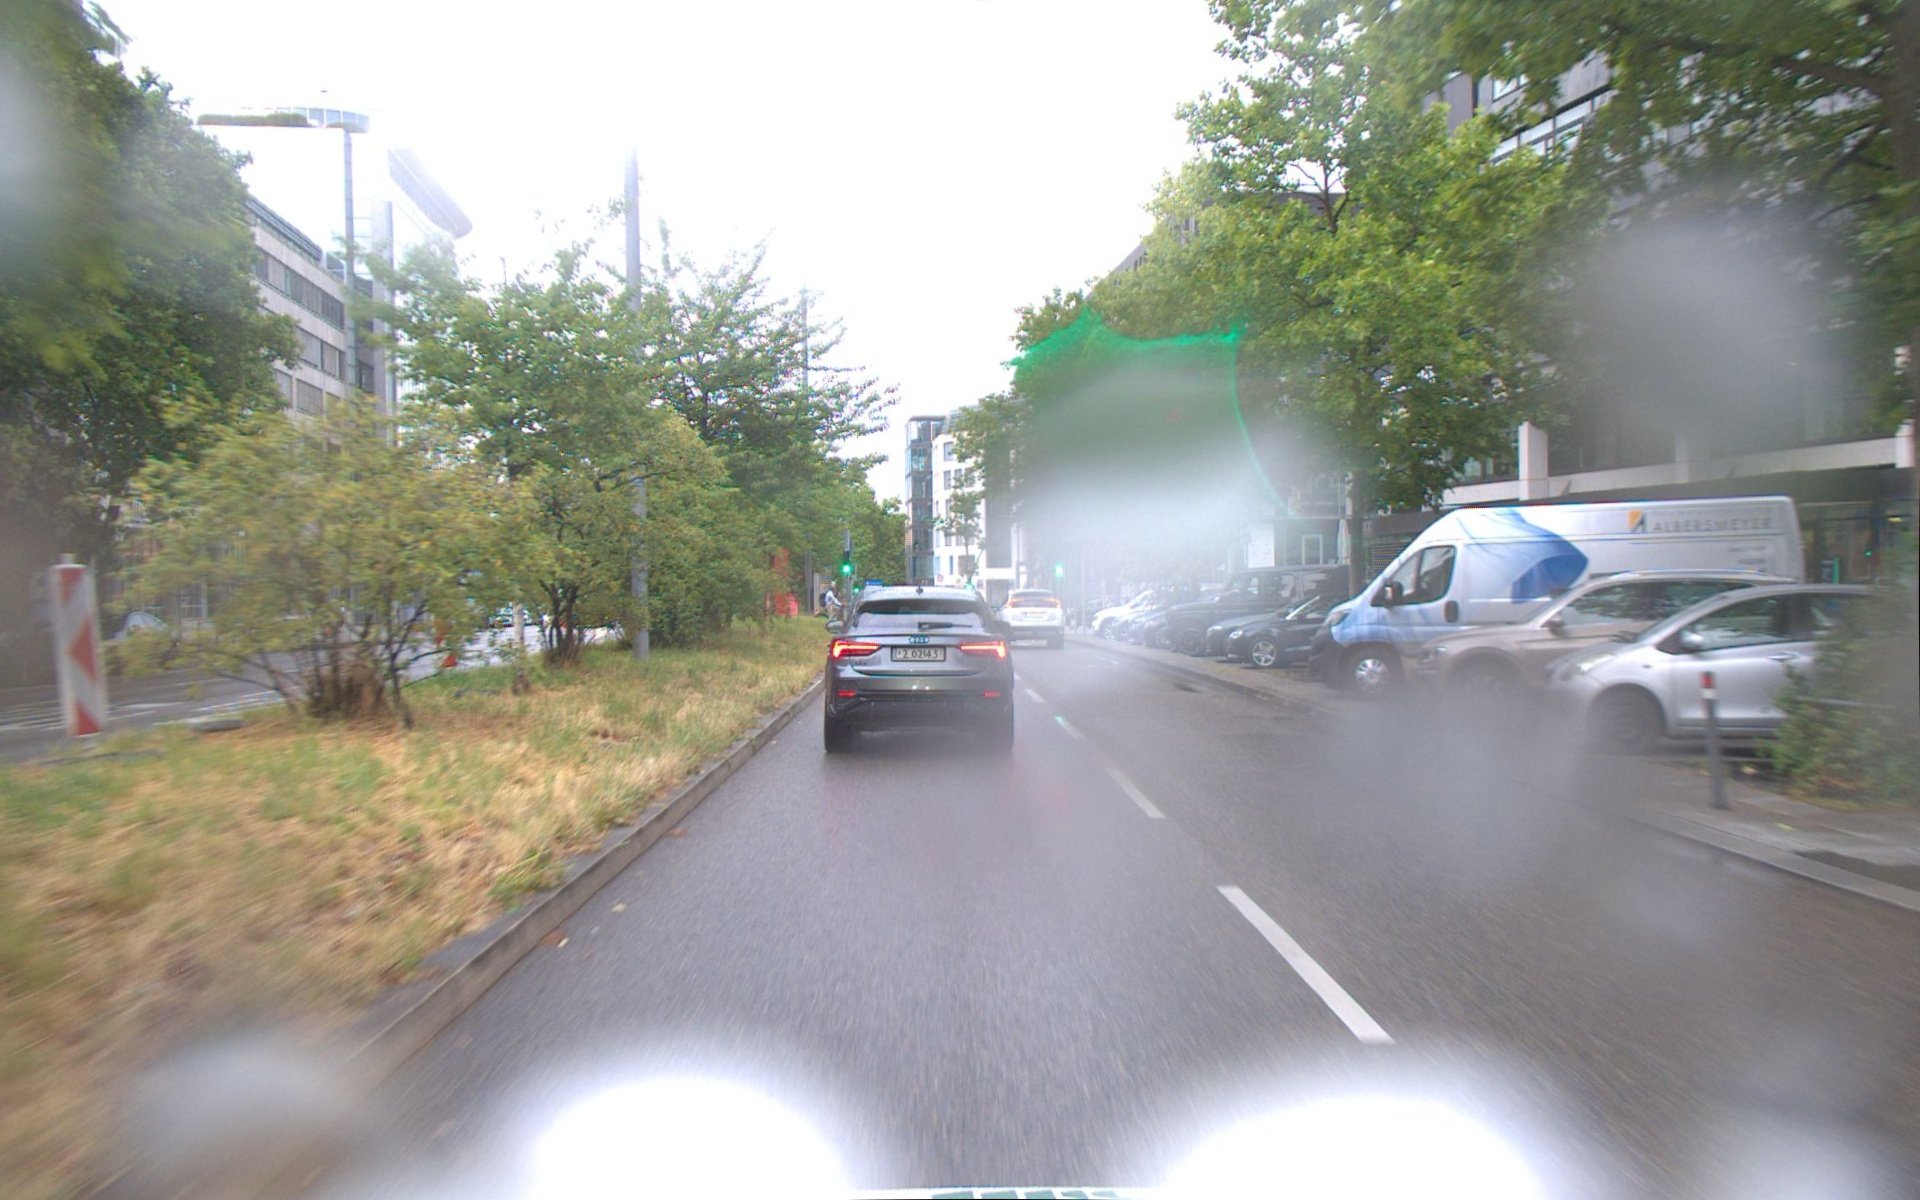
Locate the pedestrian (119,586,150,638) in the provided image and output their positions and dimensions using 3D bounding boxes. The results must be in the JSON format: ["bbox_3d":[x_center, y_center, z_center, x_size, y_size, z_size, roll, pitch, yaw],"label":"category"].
[{"bbox_3d":[-31.662,0.466,63.442,0.826,1.952,0.676,-1,0,-5],"label":"pedestrian"}]

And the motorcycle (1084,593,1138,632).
[{"bbox_3d":[5.608,0.450,61.437,1.985,1.440,0.726,0,-1,8],"label":"motorcycle"}]

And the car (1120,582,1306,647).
[{"bbox_3d":[6.717,0.380,43.719,4.673,1.560,1.871,-2,0,14],"label":"car"}]

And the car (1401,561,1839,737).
[{"bbox_3d":[7.017,0.469,17.739,4.173,1.696,1.817,0,0,26],"label":"car"}]

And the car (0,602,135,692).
[{"bbox_3d":[-19.116,0.960,34.280,1.733,1.681,4.840,-4,0,-3],"label":"car"}]

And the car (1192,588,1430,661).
[{"bbox_3d":[7.354,0.521,34.746,4.534,1.419,1.845,-2,-1,28],"label":"car"}]

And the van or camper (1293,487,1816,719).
[{"bbox_3d":[7.403,0.064,20.847,5.947,2.603,2.102,-1,0,27],"label":"van or camper"}]

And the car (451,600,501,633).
[{"bbox_3d":[-24.504,0.823,83.821,1.840,1.562,4.069,-2,0,-8],"label":"car"}]

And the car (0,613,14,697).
[{"bbox_3d":[-18.433,1.071,29.061,1.654,1.546,3.623,-4,0,-4],"label":"car"}]

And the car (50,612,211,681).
[{"bbox_3d":[-19.887,1.071,39.871,1.734,1.419,4.650,-4,0,-4],"label":"car"}]

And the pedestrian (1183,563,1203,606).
[{"bbox_3d":[11.781,-0.771,83.629,0.916,2.152,1.076,0,-1,11],"label":"pedestrian"}]

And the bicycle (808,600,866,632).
[{"bbox_3d":[-4.810,0.628,64.923,2.209,1.182,0.750,2,-1,-1],"label":"bicycle"}]

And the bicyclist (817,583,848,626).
[{"bbox_3d":[-4.997,0.191,64.928,1.082,1.650,0.750,2,-1,-1],"label":"bicyclist"}]

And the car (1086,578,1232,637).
[{"bbox_3d":[6.221,0.247,51.715,4.135,1.698,1.837,-2,0,27],"label":"car"}]

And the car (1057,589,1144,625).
[{"bbox_3d":[6.432,0.336,75.900,3.794,1.595,1.658,0,-1,42],"label":"car"}]

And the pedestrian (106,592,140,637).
[{"bbox_3d":[-31.677,0.555,62.582,0.976,1.674,0.675,-1,0,-11],"label":"pedestrian"}]

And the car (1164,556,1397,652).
[{"bbox_3d":[7.295,0.108,37.714,4.839,2.013,1.928,-2,0,26],"label":"car"}]

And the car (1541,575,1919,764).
[{"bbox_3d":[7.171,0.576,14.979,3.572,1.574,1.715,0,0,19],"label":"car"}]

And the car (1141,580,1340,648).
[{"bbox_3d":[6.862,0.345,40.528,4.462,1.533,1.868,-2,0,24],"label":"car"}]

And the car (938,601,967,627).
[{"bbox_3d":[-0.453,0.865,103.856,1.811,1.550,4.038,0,0,0],"label":"car"}]

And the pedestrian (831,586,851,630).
[{"bbox_3d":[-4.992,0.349,69.505,0.647,1.825,0.751,0,-1,12],"label":"pedestrian"}]

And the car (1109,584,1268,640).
[{"bbox_3d":[6.684,0.353,48.368,4.212,1.514,1.840,-2,0,29],"label":"car"}]

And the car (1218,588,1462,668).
[{"bbox_3d":[7.277,0.524,31.721,4.279,1.461,1.760,-1,0,26],"label":"car"}]

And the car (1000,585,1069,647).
[{"bbox_3d":[2.100,0.445,47.679,1.811,1.698,4.038,0,0,0],"label":"car"}]

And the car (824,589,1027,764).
[{"bbox_3d":[-0.331,0.675,16.853,1.812,1.550,4.038,0,0,-1],"label":"car"}]
